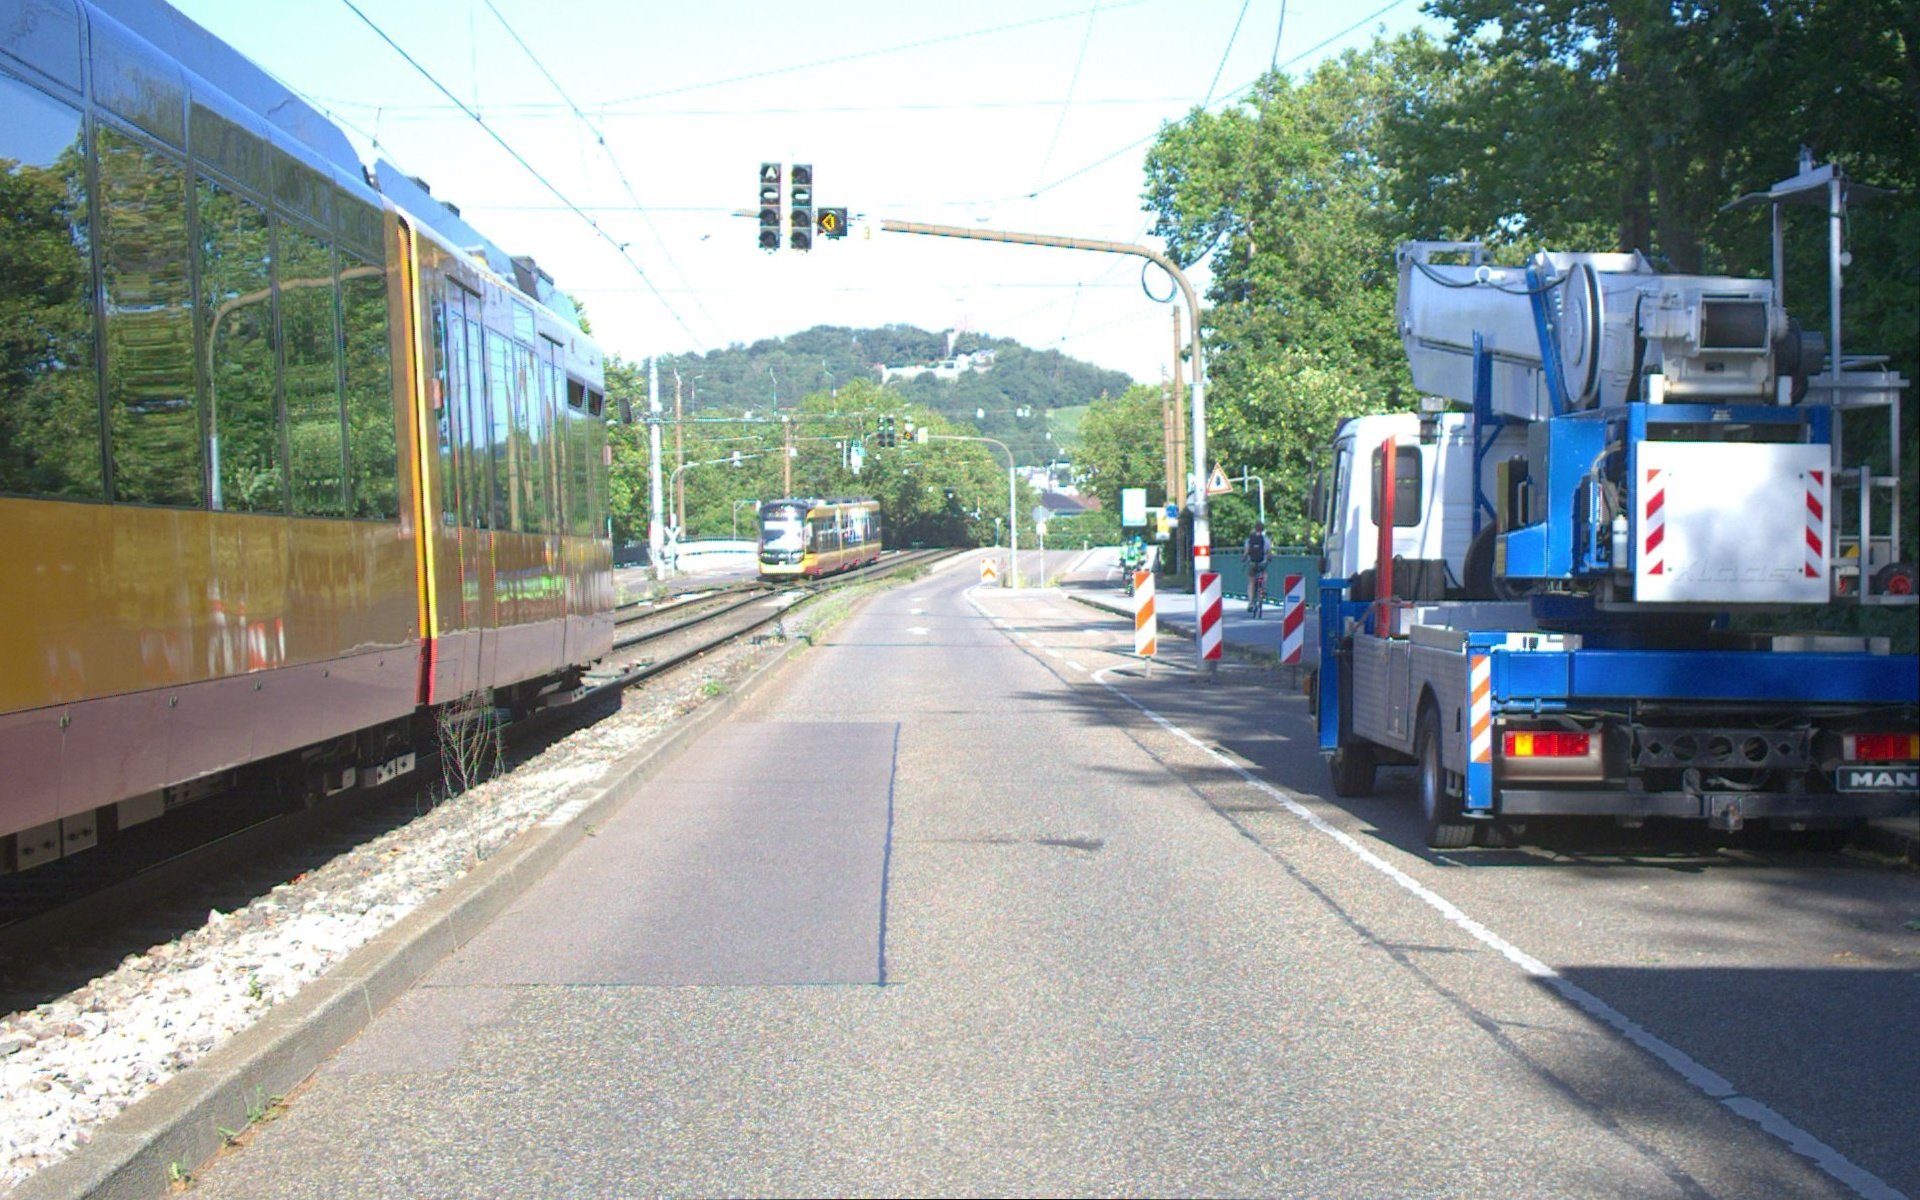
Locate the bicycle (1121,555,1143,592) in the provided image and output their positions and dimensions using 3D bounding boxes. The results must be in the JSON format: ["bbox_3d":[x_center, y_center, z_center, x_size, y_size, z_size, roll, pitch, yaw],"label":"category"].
[{"bbox_3d":[4.911,-0.754,98.299,0.515,1.038,1.975,0,1,-1],"label":"bicycle"}]

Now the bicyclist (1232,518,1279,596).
[{"bbox_3d":[5.794,-0.847,67.406,0.824,1.515,0.975,0,1,-1],"label":"bicyclist"}]

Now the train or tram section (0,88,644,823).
[{"bbox_3d":[-4.313,-0.909,25.727,2.719,4.075,12.813,-1,1,0],"label":"train or tram section"}]

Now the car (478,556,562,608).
[{"bbox_3d":[-12.537,-0.535,98.145,1.767,1.408,4.912,-1,1,0],"label":"car"}]

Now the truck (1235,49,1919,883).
[{"bbox_3d":[3.519,-0.676,20.633,2.717,3.770,9.762,1,1,-1],"label":"truck"}]

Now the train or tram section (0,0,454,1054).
[{"bbox_3d":[-4.206,-0.758,14.376,2.694,4.075,9.911,-1,1,0],"label":"train or tram section"}]

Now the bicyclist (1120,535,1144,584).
[{"bbox_3d":[4.918,-1.163,98.279,0.604,1.374,0.975,0,1,-1],"label":"bicyclist"}]

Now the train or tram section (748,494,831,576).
[{"bbox_3d":[-7.598,-2.907,154.680,2.644,3.554,10.831,0,1,3],"label":"train or tram section"}]

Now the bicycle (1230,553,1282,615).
[{"bbox_3d":[5.785,-0.331,67.310,0.727,1.172,2.695,-1,1,-1],"label":"bicycle"}]
